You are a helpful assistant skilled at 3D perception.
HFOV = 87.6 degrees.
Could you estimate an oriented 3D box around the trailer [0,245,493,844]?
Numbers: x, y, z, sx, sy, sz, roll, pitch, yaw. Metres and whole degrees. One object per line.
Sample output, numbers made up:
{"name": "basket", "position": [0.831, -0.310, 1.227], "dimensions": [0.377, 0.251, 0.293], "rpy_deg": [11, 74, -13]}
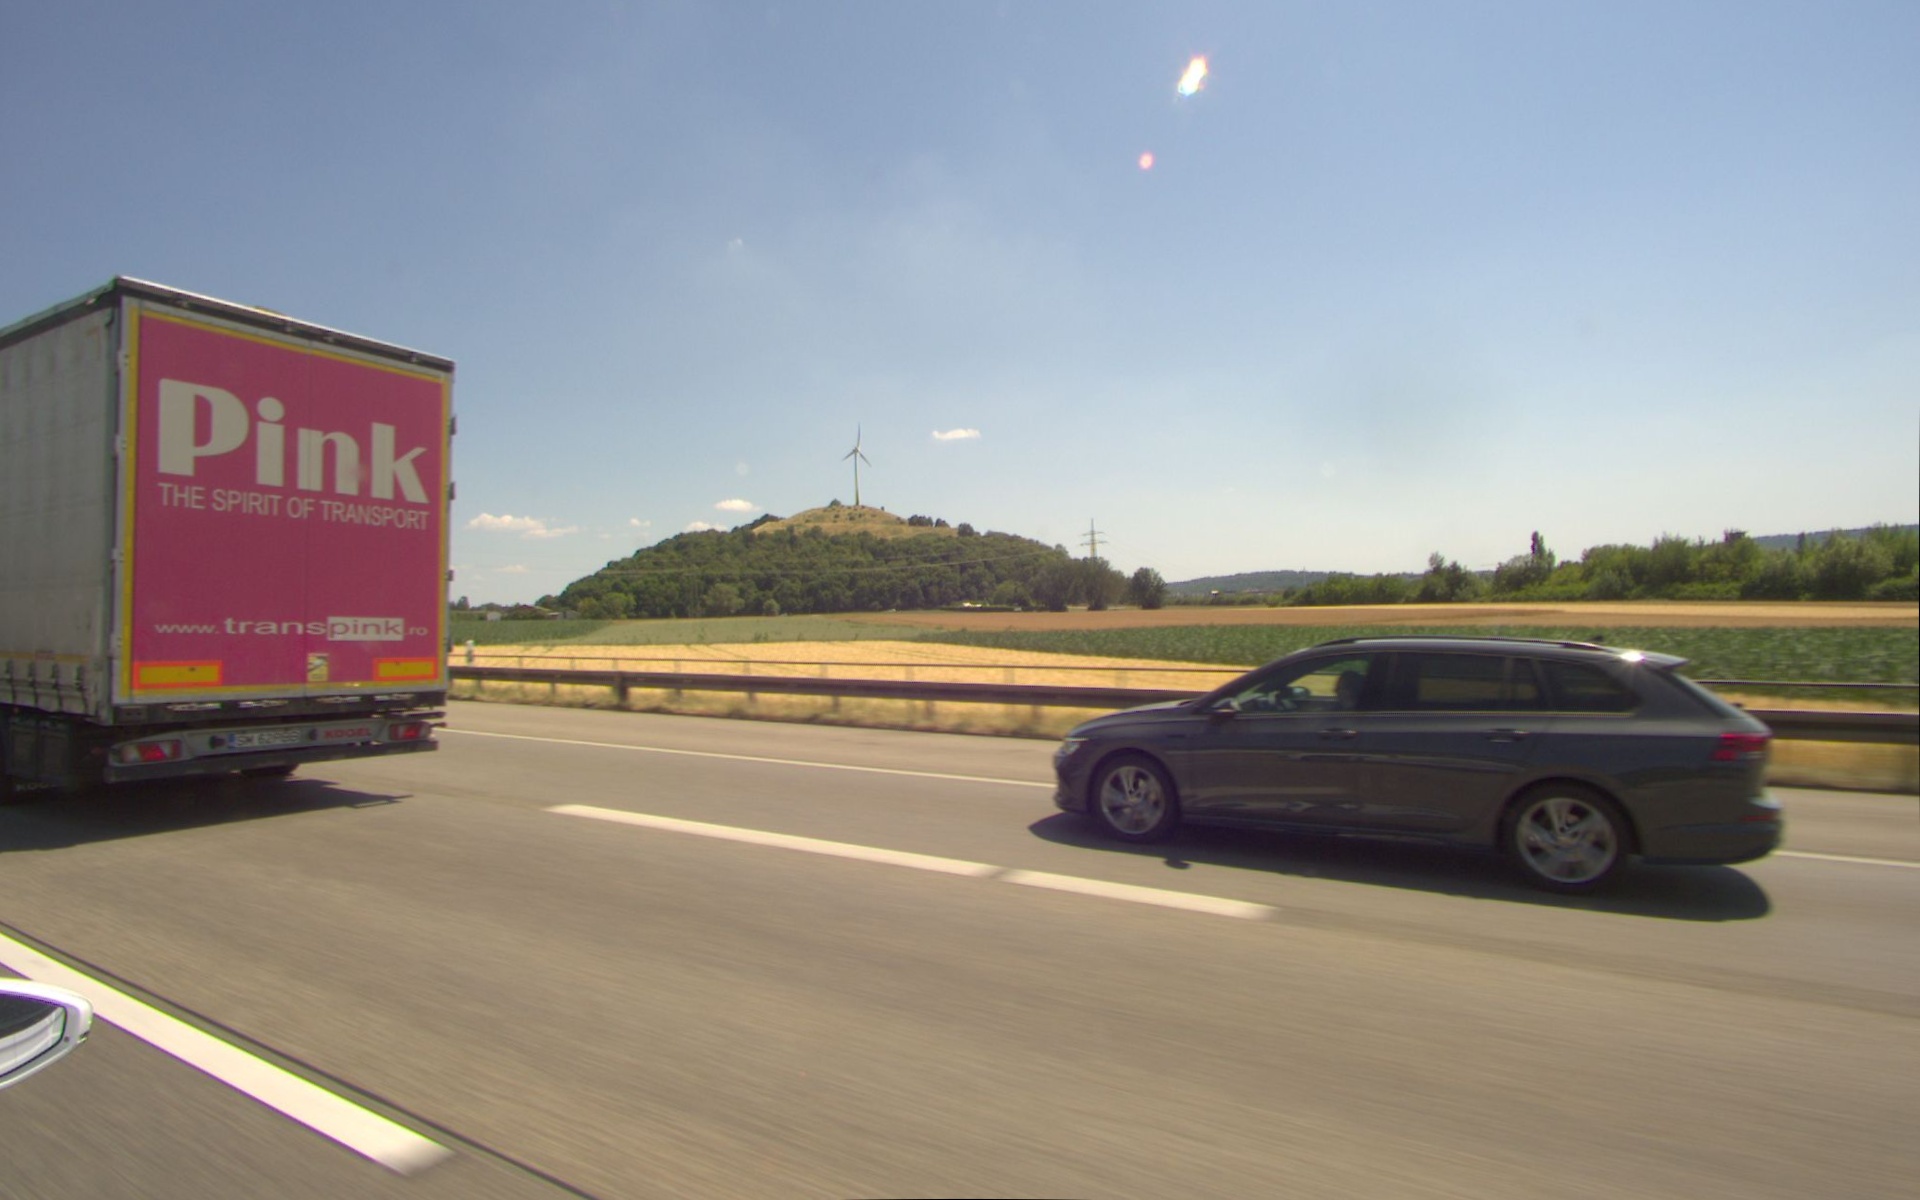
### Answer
{"name": "trailer", "position": [-10.925, -0.248, 11.907], "dimensions": [13.662, 4.170, 2.913], "rpy_deg": [-1, -2, 33]}

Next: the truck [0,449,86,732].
{"name": "truck", "position": [-16.763, -0.108, 15.704], "dimensions": [6.419, 4.060, 2.911], "rpy_deg": [-1, -2, 33]}

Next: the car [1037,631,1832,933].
{"name": "car", "position": [2.919, 0.972, 6.947], "dimensions": [4.471, 1.489, 1.758], "rpy_deg": [-1, -2, 32]}
